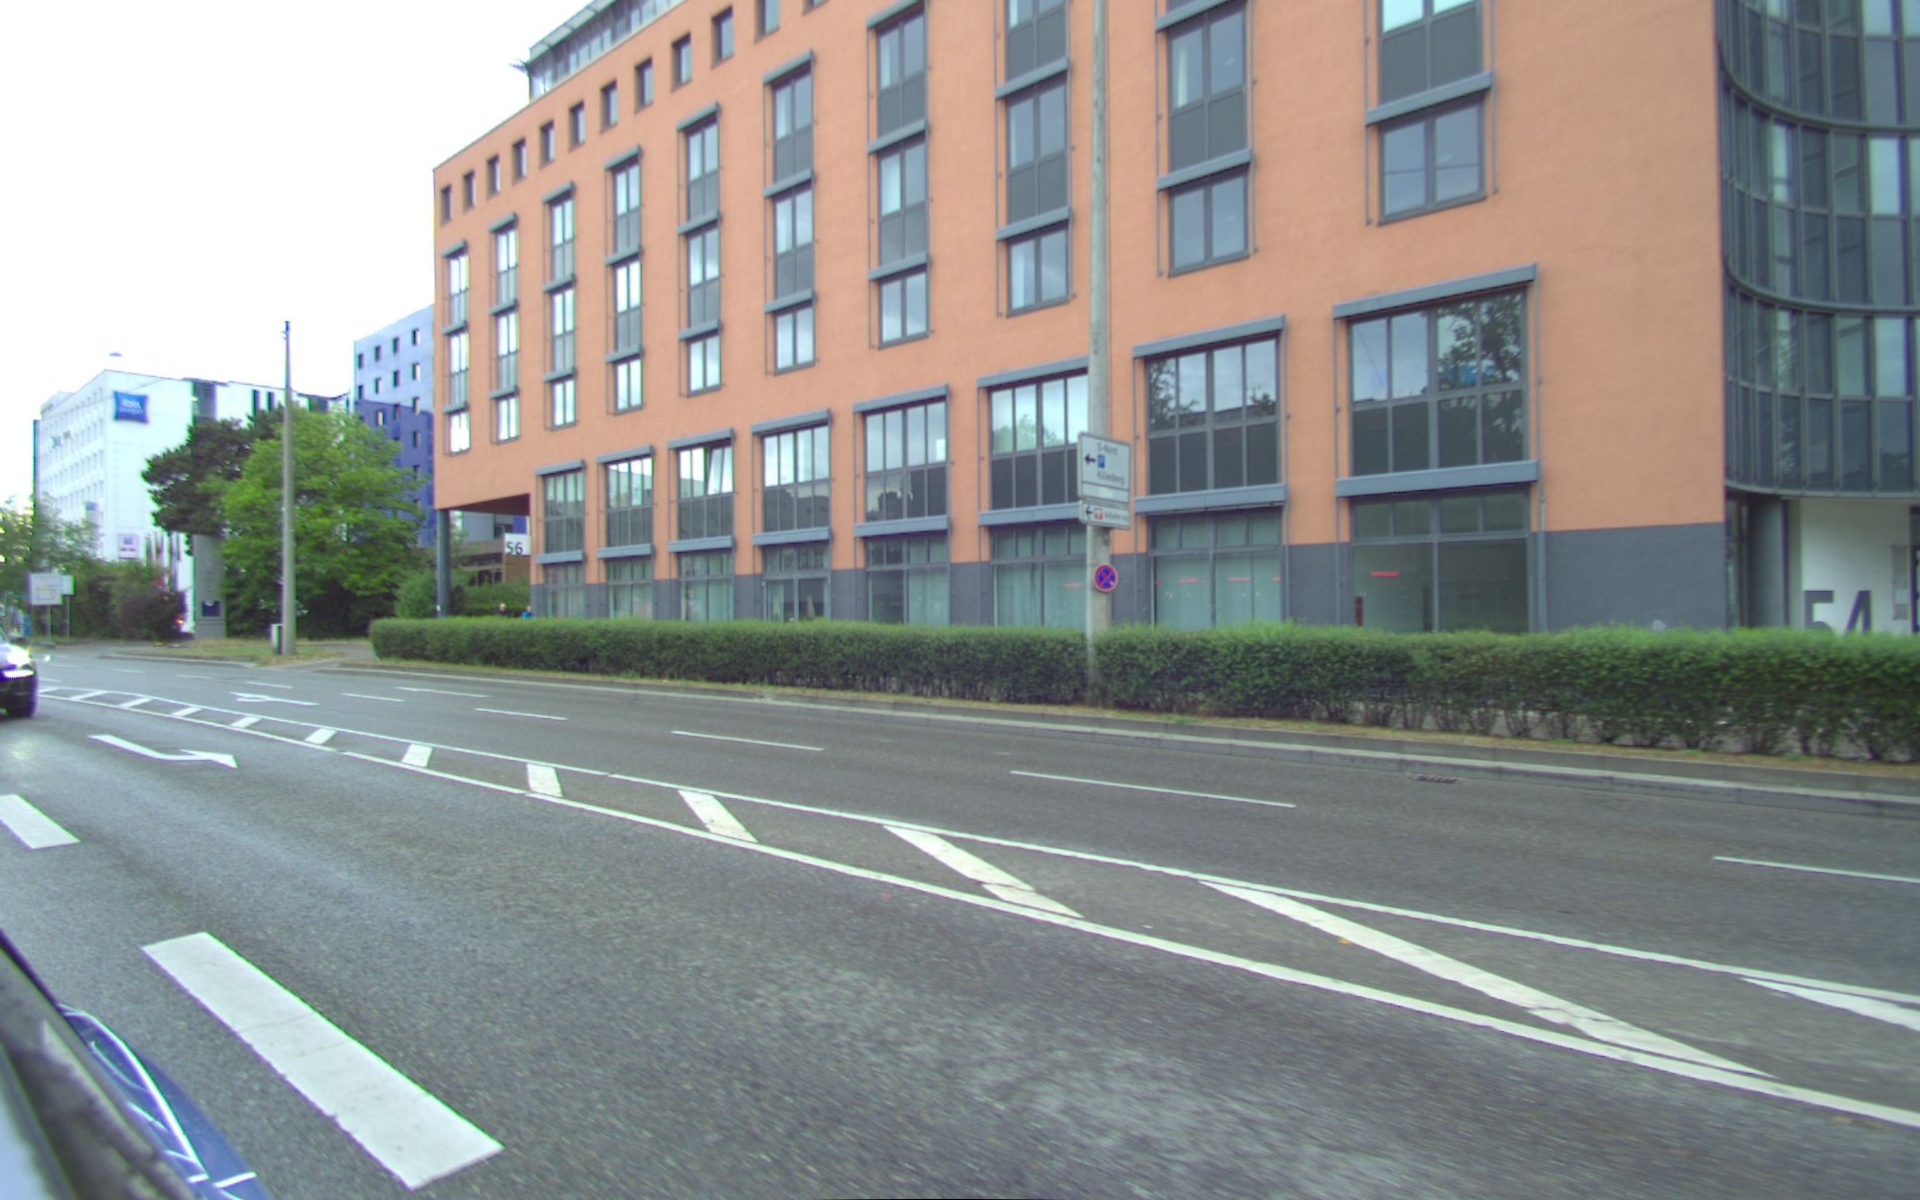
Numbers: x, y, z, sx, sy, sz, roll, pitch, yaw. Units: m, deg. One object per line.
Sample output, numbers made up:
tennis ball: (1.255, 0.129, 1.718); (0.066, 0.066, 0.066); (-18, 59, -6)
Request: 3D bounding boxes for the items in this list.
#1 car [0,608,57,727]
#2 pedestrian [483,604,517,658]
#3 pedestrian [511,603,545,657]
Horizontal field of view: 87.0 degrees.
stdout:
car: (-15.902, 1.000, 15.441); (5.411, 1.679, 1.976); (-2, -2, 35)
pedestrian: (-16.035, 1.067, 35.262); (0.885, 1.855, 0.738); (-1, 0, 39)
pedestrian: (-15.298, 1.062, 35.833); (0.885, 1.855, 0.738); (-1, 0, 39)
